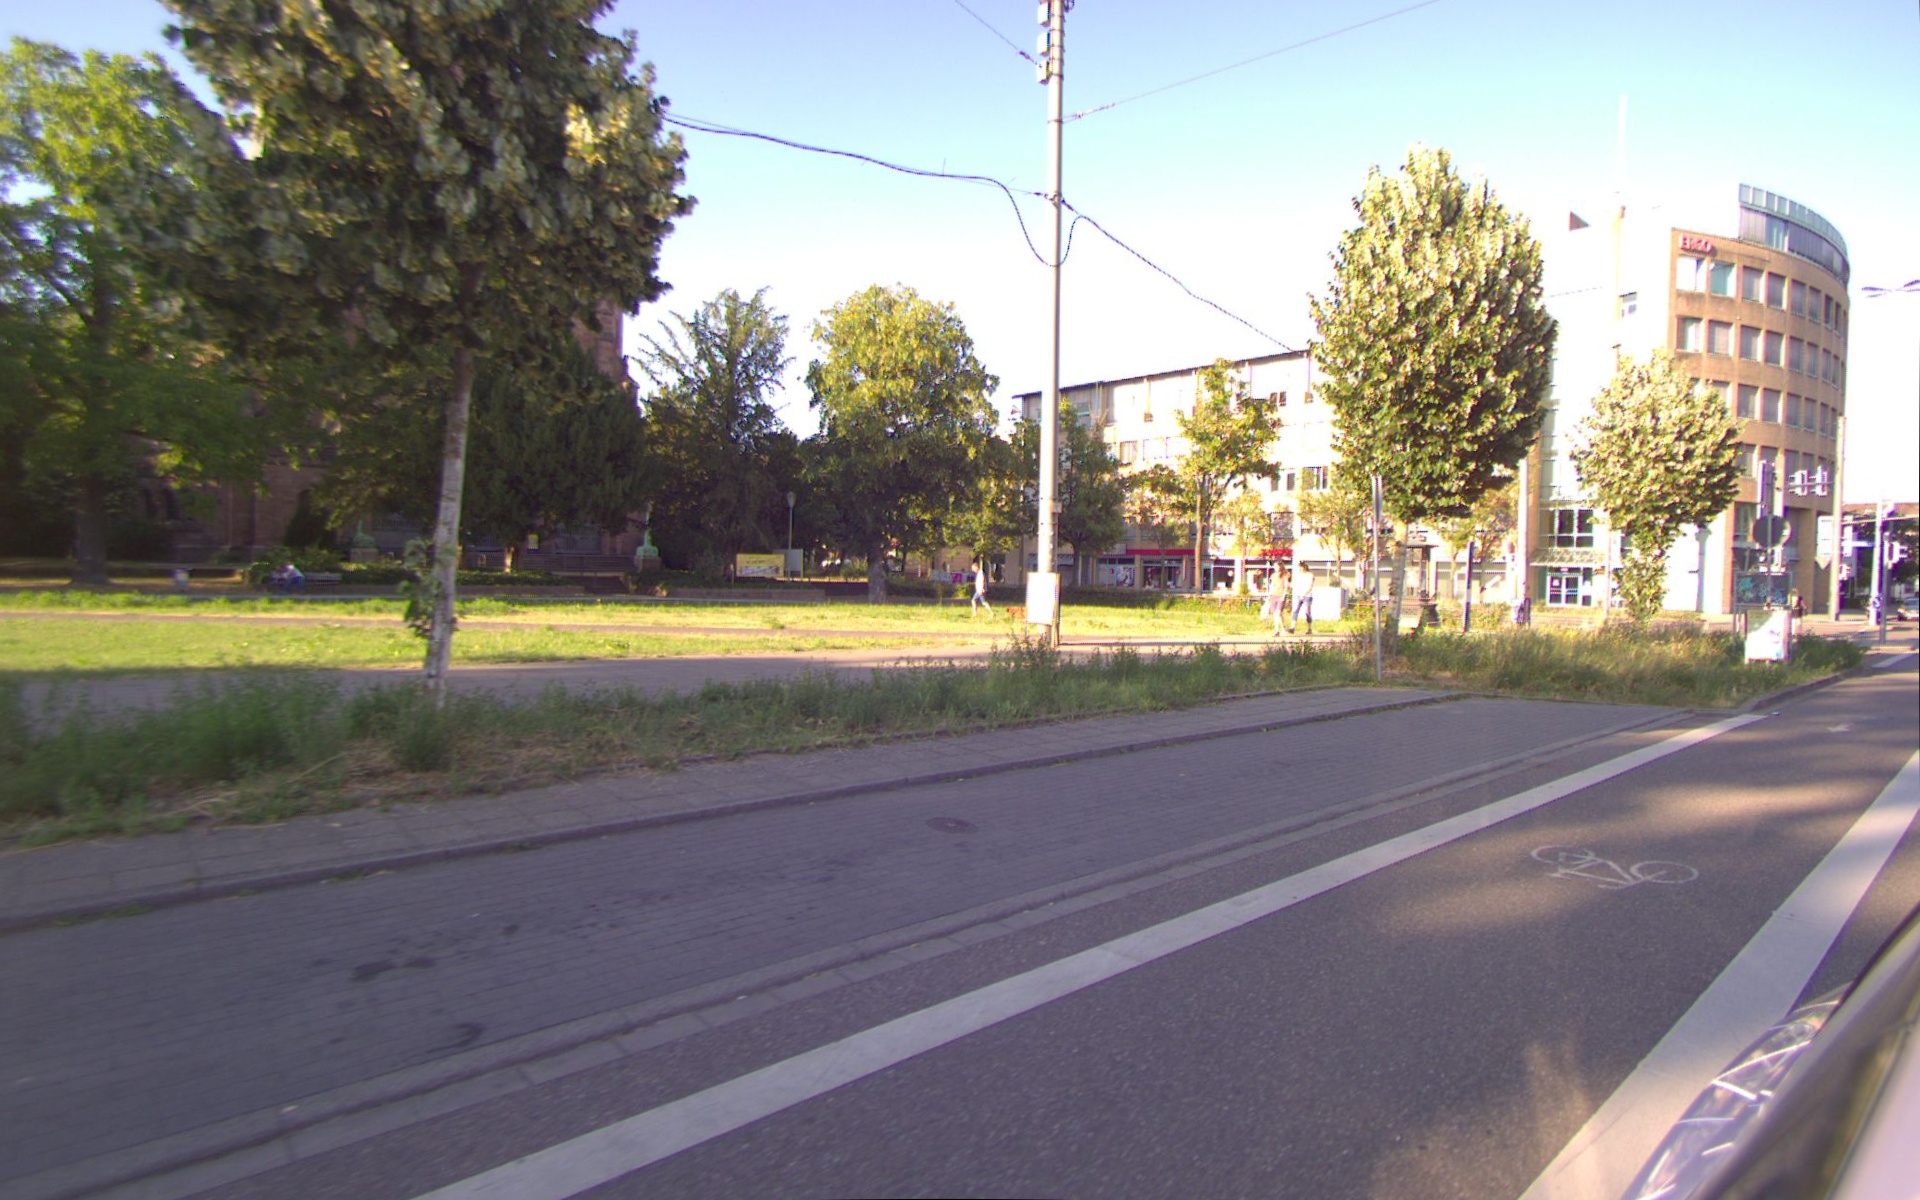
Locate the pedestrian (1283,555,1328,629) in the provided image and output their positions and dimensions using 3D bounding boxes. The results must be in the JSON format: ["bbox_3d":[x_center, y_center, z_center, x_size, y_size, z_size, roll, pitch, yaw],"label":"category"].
[{"bbox_3d":[8.166,-0.192,23.924,0.767,1.709,0.599,1,3,-38],"label":"pedestrian"}]

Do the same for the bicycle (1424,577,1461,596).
[{"bbox_3d":[32.938,-0.903,69.078,2.048,1.253,0.864,-1,0,1],"label":"bicycle"}]

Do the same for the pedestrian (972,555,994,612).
[{"bbox_3d":[0.723,-0.524,31.908,0.630,1.760,0.597,1,1,-3],"label":"pedestrian"}]

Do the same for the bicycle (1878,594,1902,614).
[{"bbox_3d":[49.860,0.222,54.255,1.943,1.064,0.700,0,0,-39],"label":"bicycle"}]

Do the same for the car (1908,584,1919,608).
[{"bbox_3d":[60.479,-0.251,63.043,3.946,1.491,1.767,-1,1,-43],"label":"car"}]

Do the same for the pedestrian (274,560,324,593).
[{"bbox_3d":[-21.432,-0.770,32.846,1.258,1.006,1.385,1,2,-30],"label":"pedestrian"}]

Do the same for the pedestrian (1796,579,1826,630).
[{"bbox_3d":[29.815,0.142,35.466,0.702,1.746,0.651,0,2,-39],"label":"pedestrian"}]

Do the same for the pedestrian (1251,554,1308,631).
[{"bbox_3d":[7.175,-0.173,22.756,0.899,1.669,0.741,1,4,-38],"label":"pedestrian"}]
